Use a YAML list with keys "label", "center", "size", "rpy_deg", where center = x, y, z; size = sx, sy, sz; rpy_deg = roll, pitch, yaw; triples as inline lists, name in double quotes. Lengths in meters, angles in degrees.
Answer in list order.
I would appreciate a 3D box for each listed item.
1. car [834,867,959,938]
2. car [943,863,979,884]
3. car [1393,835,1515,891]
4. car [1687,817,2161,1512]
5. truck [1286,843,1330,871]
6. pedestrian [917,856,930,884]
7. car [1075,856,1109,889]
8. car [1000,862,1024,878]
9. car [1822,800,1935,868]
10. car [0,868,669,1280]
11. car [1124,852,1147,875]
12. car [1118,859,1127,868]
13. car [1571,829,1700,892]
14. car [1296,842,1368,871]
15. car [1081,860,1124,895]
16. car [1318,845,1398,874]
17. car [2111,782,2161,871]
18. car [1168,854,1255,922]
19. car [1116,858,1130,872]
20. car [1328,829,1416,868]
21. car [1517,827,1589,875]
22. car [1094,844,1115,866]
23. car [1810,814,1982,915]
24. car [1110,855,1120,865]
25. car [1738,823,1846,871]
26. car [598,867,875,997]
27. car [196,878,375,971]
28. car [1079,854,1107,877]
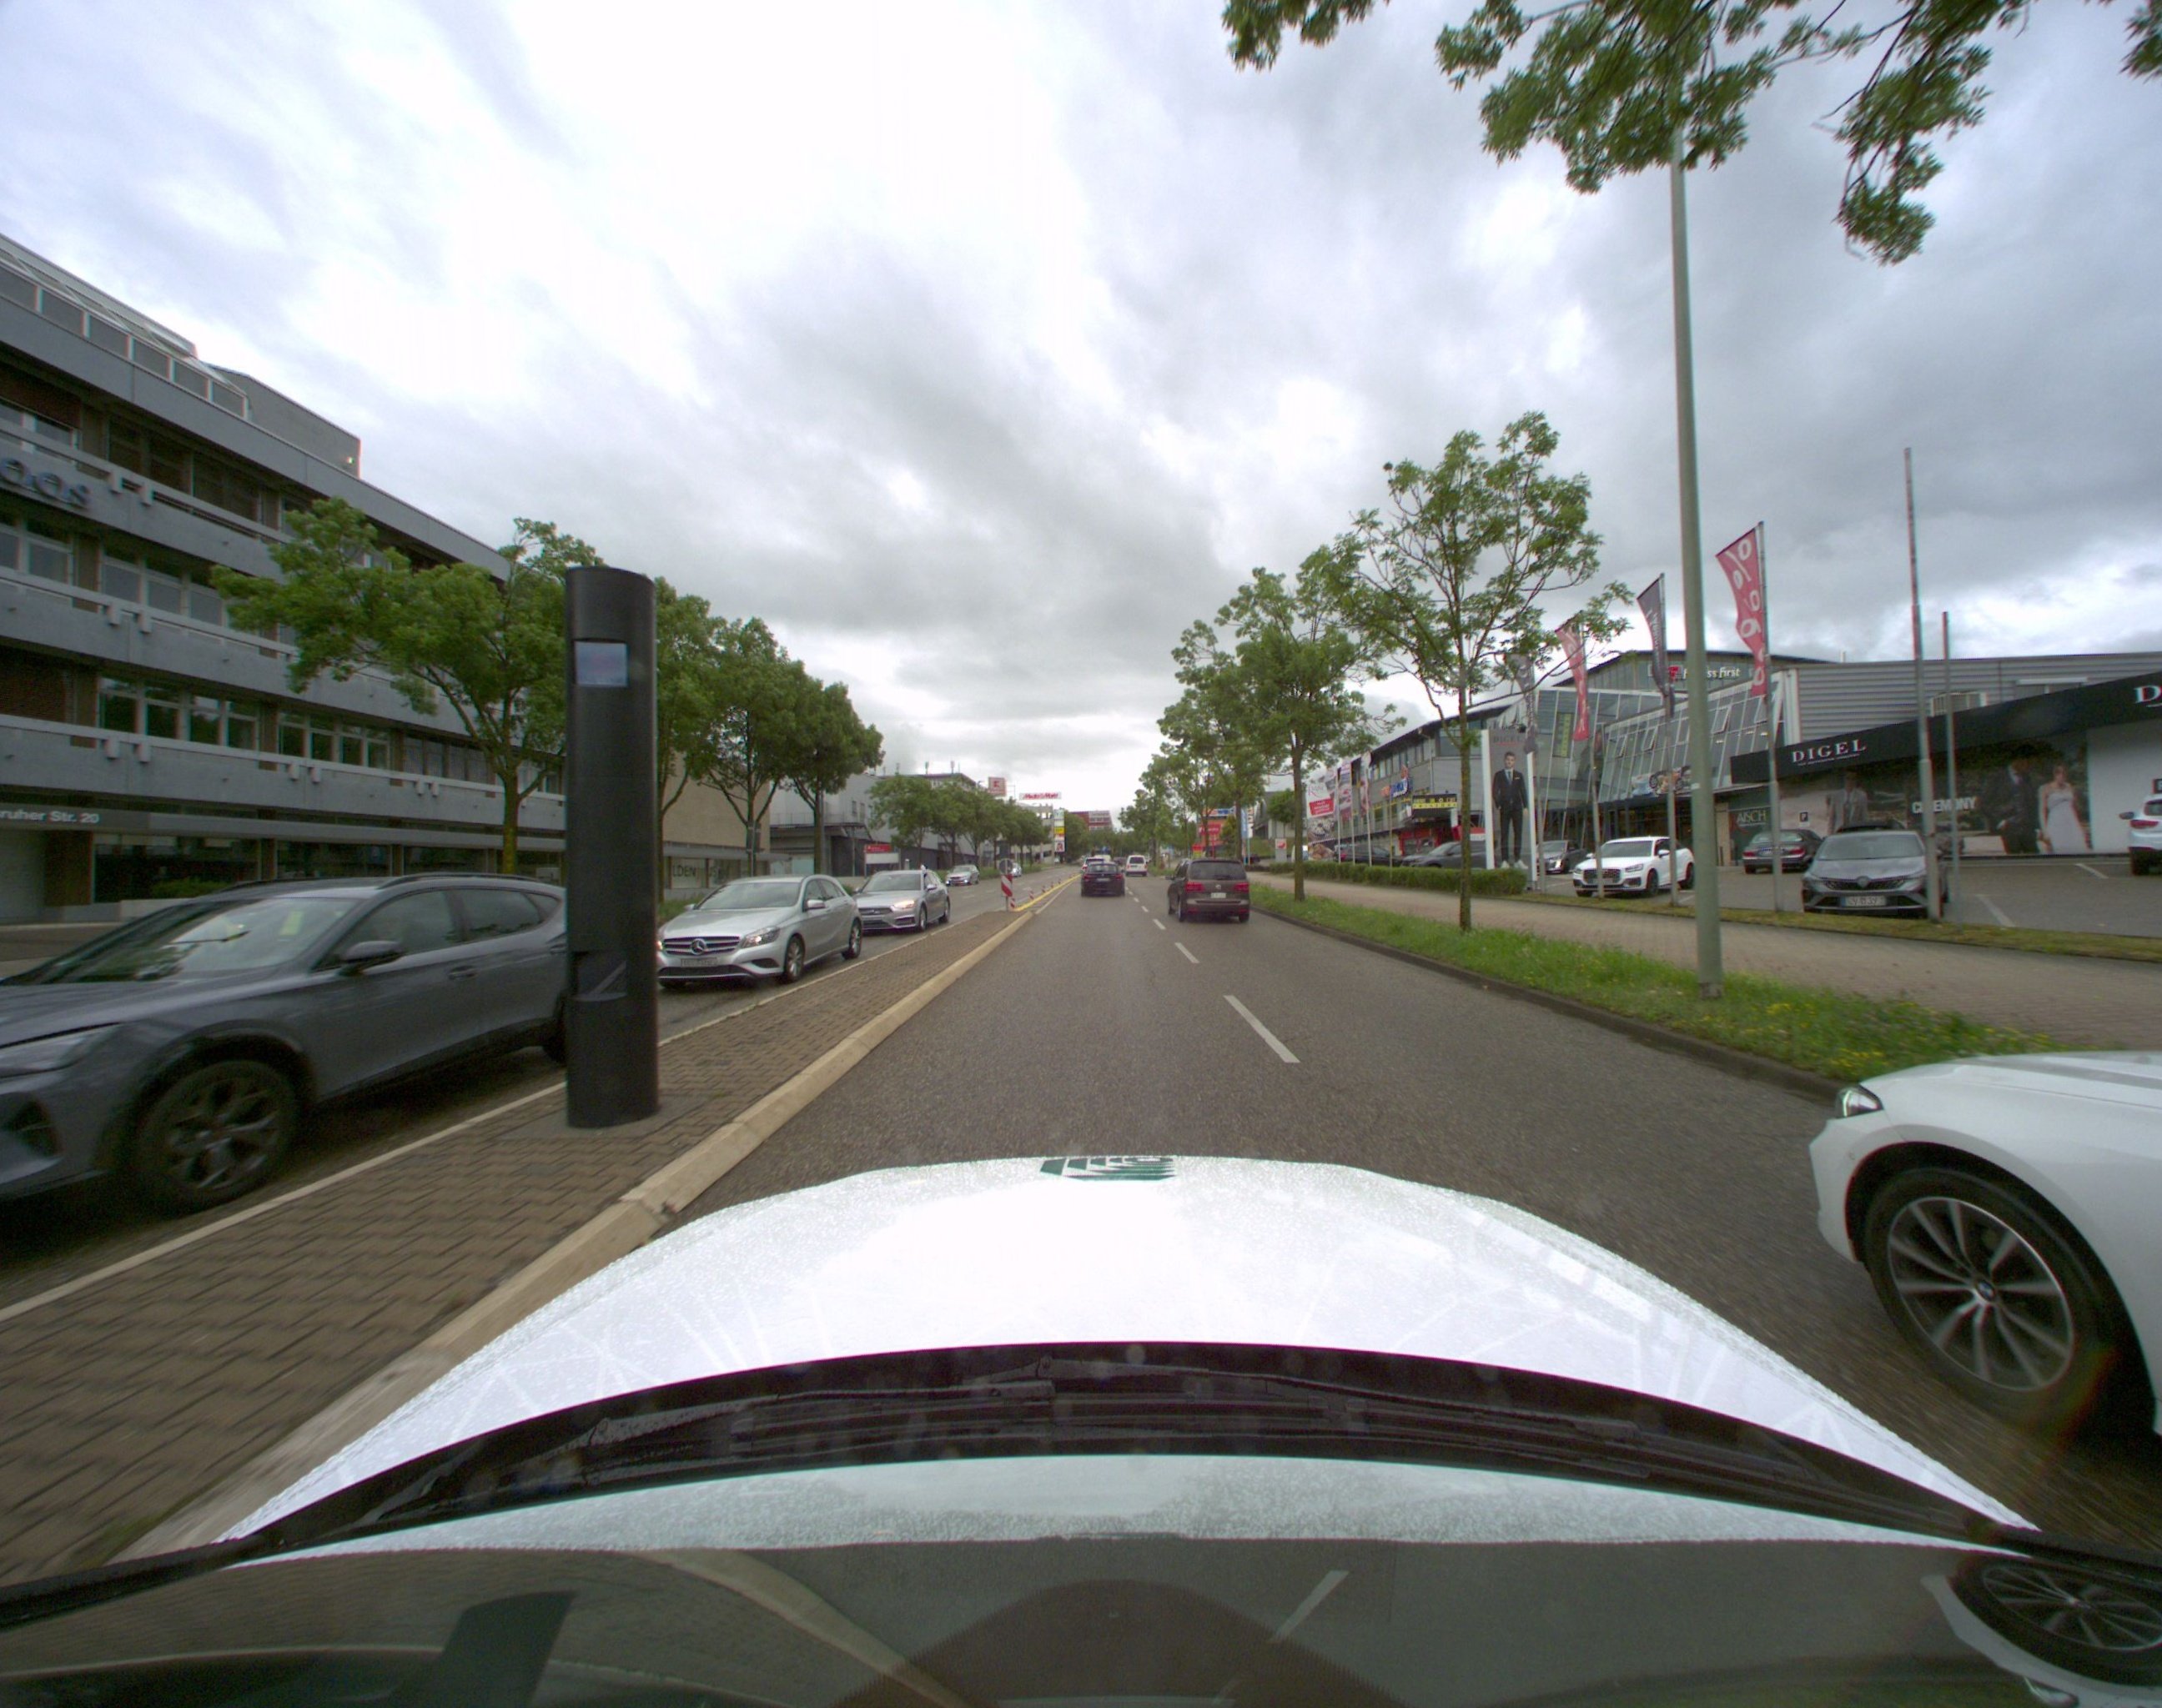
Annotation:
- label: "car"
  center: [-4.286, 1.066, 19.719]
  size: [1.717, 1.398, 4.791]
  rpy_deg: [-4, -1, 2]
- label: "car"
  center: [-8.779, 1.416, 59.801]
  size: [1.936, 1.453, 4.001]
  rpy_deg: [-1, -1, 1]
- label: "car"
  center: [15.001, 0.370, 32.928]
  size: [4.093, 2.106, 1.801]
  rpy_deg: [-1, -1, 3]
- label: "car"
  center: [3.301, 0.680, 0.941]
  size: [1.795, 1.544, 4.619]
  rpy_deg: [0, -1, 0]
- label: "truck"
  center: [19.768, 0.308, 71.306]
  size: [2.433, 2.348, 5.459]
  rpy_deg: [0, -2, 1]
- label: "pedestrian"
  center: [-12.406, 1.259, 64.114]
  size: [0.856, 2.218, 0.846]
  rpy_deg: [-1, -1, -1]
- label: "car"
  center: [0.657, 1.044, 45.986]
  size: [1.775, 1.793, 4.001]
  rpy_deg: [-1, -1, 2]
- label: "car"
  center: [-6.845, 1.584, 80.684]
  size: [1.936, 1.448, 4.001]
  rpy_deg: [-1, -1, 1]
- label: "car"
  center: [23.050, -0.551, 23.493]
  size: [4.173, 1.771, 1.718]
  rpy_deg: [-1, -1, -38]
- label: "car"
  center: [-4.750, 0.867, 5.027]
  size: [1.737, 1.489, 4.832]
  rpy_deg: [-2, -1, 3]
- label: "car"
  center: [4.680, 0.829, 70.112]
  size: [1.775, 1.866, 4.001]
  rpy_deg: [-2, -1, 2]
- label: "car"
  center: [7.900, 1.801, 154.196]
  size: [1.614, 1.495, 3.360]
  rpy_deg: [0, -2, 1]
- label: "car"
  center: [14.933, 0.160, 21.900]
  size: [3.616, 1.536, 1.776]
  rpy_deg: [-2, -1, -38]
- label: "car"
  center: [15.646, 0.161, 50.939]
  size: [4.088, 1.703, 1.803]
  rpy_deg: [-1, -1, 7]
- label: "car"
  center: [0.947, 0.989, 35.284]
  size: [1.775, 1.398, 4.001]
  rpy_deg: [-1, -1, 2]
- label: "car"
  center: [15.830, 0.322, 46.721]
  size: [4.088, 1.536, 1.803]
  rpy_deg: [-1, -1, 7]
- label: "car"
  center: [23.451, -0.593, 17.376]
  size: [4.173, 1.771, 1.718]
  rpy_deg: [-1, -1, -38]
- label: "car"
  center: [3.338, 0.838, 21.545]
  size: [1.794, 1.587, 4.453]
  rpy_deg: [0, -1, 3]
- label: "car"
  center: [5.209, 1.350, 101.372]
  size: [1.678, 1.684, 3.405]
  rpy_deg: [0, -2, 3]
- label: "car"
  center: [15.551, -0.262, 43.710]
  size: [4.093, 1.905, 1.801]
  rpy_deg: [-2, -1, 3]
- label: "car"
  center: [20.148, -0.126, 34.690]
  size: [1.774, 1.941, 4.065]
  rpy_deg: [-2, 0, 43]
- label: "car"
  center: [2.343, 0.130, 80.717]
  size: [1.986, 2.014, 4.002]
  rpy_deg: [0, -2, 2]
- label: "car"
  center: [14.271, 0.160, 14.211]
  size: [3.616, 1.536, 1.625]
  rpy_deg: [-1, -1, -38]
- label: "car"
  center: [5.786, 1.036, 137.858]
  size: [1.588, 1.474, 3.445]
  rpy_deg: [0, -2, 1]
- label: "car"
  center: [23.898, -0.253, 27.340]
  size: [4.174, 1.468, 1.811]
  rpy_deg: [-2, -1, -36]
- label: "car"
  center: [-4.634, 0.946, 11.937]
  size: [1.834, 1.377, 4.863]
  rpy_deg: [-4, -1, 1]
- label: "car"
  center: [-15.838, 1.322, 16.174]
  size: [3.948, 1.552, 1.912]
  rpy_deg: [-3, -1, 36]
- label: "car"
  center: [0.849, 0.761, 53.825]
  size: [1.775, 1.398, 4.001]
  rpy_deg: [-1, -1, 2]
